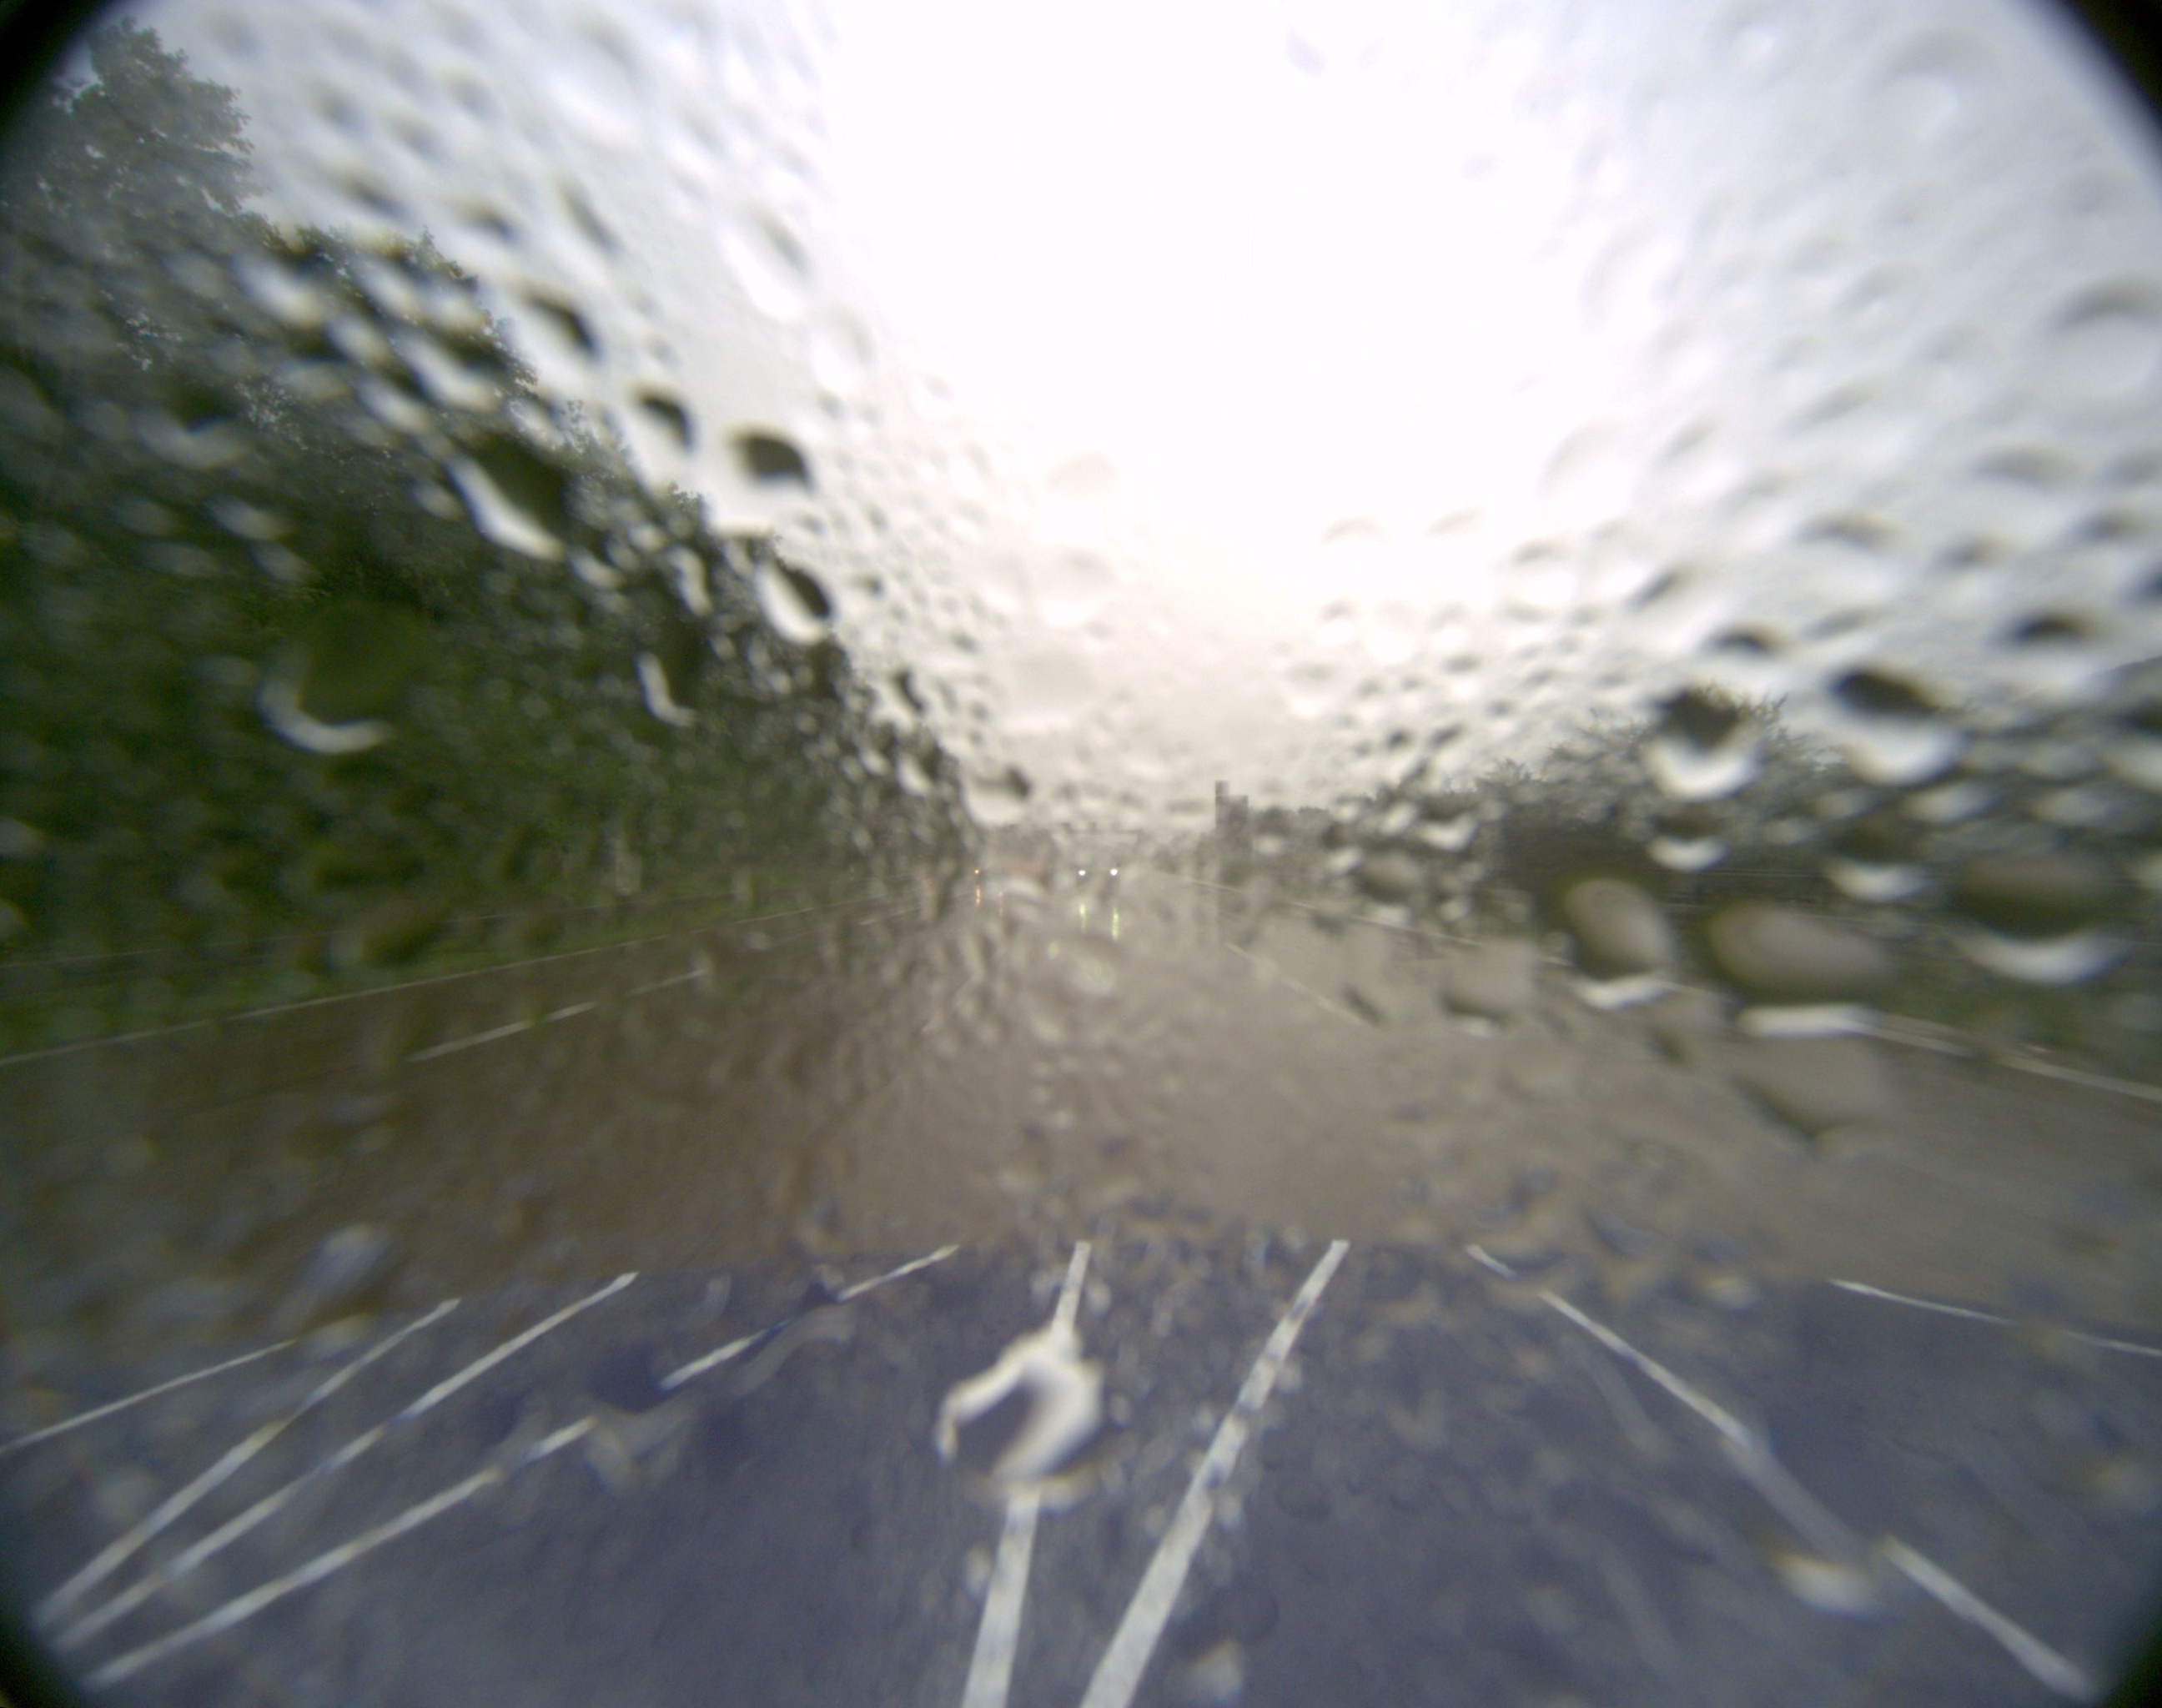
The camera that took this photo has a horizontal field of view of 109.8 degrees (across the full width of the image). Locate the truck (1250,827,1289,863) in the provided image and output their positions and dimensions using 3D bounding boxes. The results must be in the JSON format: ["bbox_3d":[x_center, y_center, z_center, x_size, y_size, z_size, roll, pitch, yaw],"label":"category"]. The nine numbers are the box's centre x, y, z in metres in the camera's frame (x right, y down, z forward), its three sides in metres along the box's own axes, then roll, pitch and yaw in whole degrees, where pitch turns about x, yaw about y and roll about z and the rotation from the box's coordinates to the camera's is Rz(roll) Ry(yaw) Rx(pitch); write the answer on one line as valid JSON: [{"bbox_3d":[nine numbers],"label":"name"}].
[{"bbox_3d":[22.877,-1.125,92.550,3.382,4.160,5.519,-2,0,1],"label":"truck"}]

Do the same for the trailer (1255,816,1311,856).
[{"bbox_3d":[22.793,-1.911,86.433,3.363,4.149,11.402,-2,0,1],"label":"trailer"}]

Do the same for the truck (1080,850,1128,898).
[{"bbox_3d":[0.993,0.822,35.715,1.998,2.002,7.575,0,0,0],"label":"truck"}]

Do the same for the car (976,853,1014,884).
[{"bbox_3d":[-5.728,0.943,51.144,1.859,2.002,4.001,-1,0,3],"label":"car"}]

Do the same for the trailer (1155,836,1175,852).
[{"bbox_3d":[19.506,-2.283,177.591,2.859,3.522,13.705,-2,1,-1],"label":"trailer"}]
